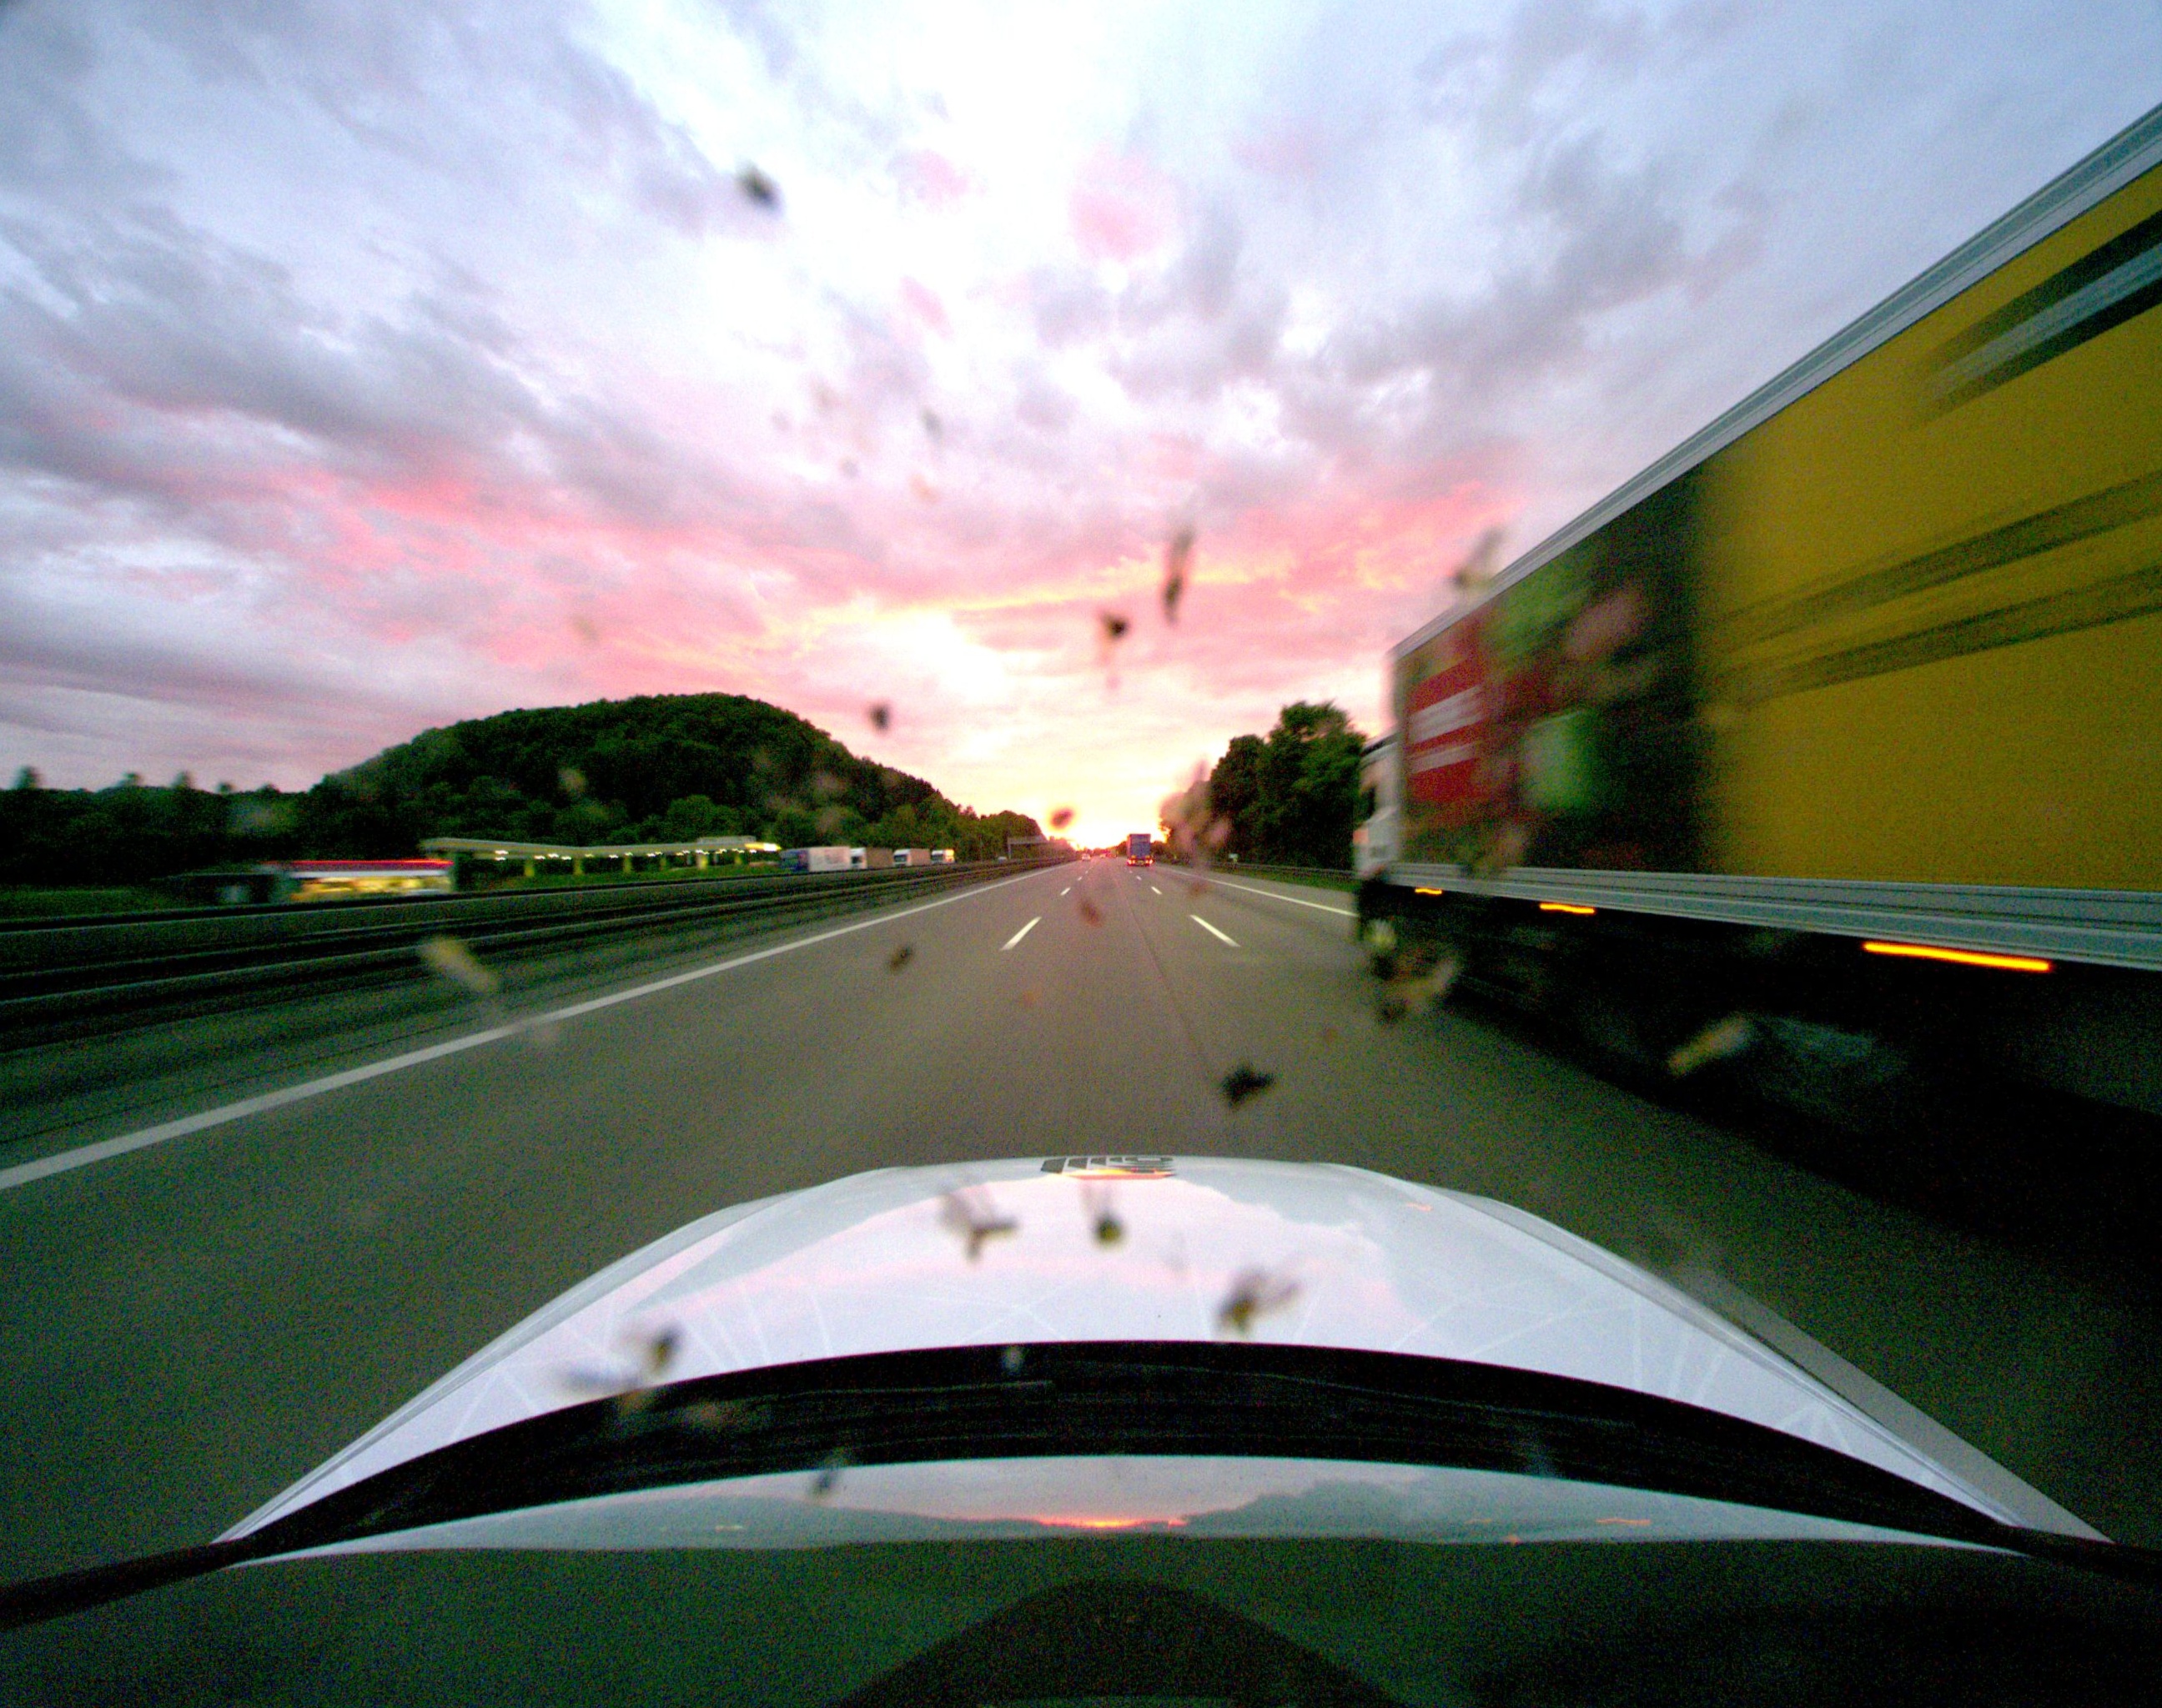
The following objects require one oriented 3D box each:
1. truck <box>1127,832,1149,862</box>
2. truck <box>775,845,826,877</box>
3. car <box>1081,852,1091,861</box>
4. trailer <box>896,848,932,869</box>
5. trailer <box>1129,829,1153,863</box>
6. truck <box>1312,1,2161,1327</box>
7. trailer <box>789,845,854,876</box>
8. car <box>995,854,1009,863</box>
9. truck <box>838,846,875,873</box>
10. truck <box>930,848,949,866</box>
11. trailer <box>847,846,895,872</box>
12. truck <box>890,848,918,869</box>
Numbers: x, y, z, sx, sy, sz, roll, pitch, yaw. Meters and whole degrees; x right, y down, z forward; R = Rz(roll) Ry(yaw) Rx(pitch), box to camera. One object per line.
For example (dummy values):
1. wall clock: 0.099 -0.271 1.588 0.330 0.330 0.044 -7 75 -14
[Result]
1. truck: 7.883 -0.966 112.696 2.726 3.996 5.851 -1 0 2
2. truck: -31.489 0.763 91.659 2.861 3.375 7.180 -1 0 3
3. car: 1.104 0.536 174.561 2.006 1.749 3.903 -5 0 1
4. trailer: -29.204 0.743 143.110 2.862 3.425 13.858 -1 0 2
5. trailer: 7.680 -0.978 105.786 2.760 4.086 13.748 -1 0 3
6. truck: 4.569 -0.531 6.624 2.606 3.827 10.390 -2 0 2
7. trailer: -31.138 0.708 98.497 2.861 3.425 13.234 -1 0 3
8. car: -15.317 0.885 157.954 1.986 1.593 4.742 -1 0 2
9. truck: -30.574 0.718 111.097 2.862 3.425 6.730 -1 0 2
10. truck: -27.796 0.495 160.295 2.866 3.425 6.720 -1 0 -2
11. trailer: -30.271 0.684 118.044 2.862 3.425 13.578 -1 0 2
12. truck: -29.508 0.765 136.052 2.862 3.425 6.731 -1 0 3
